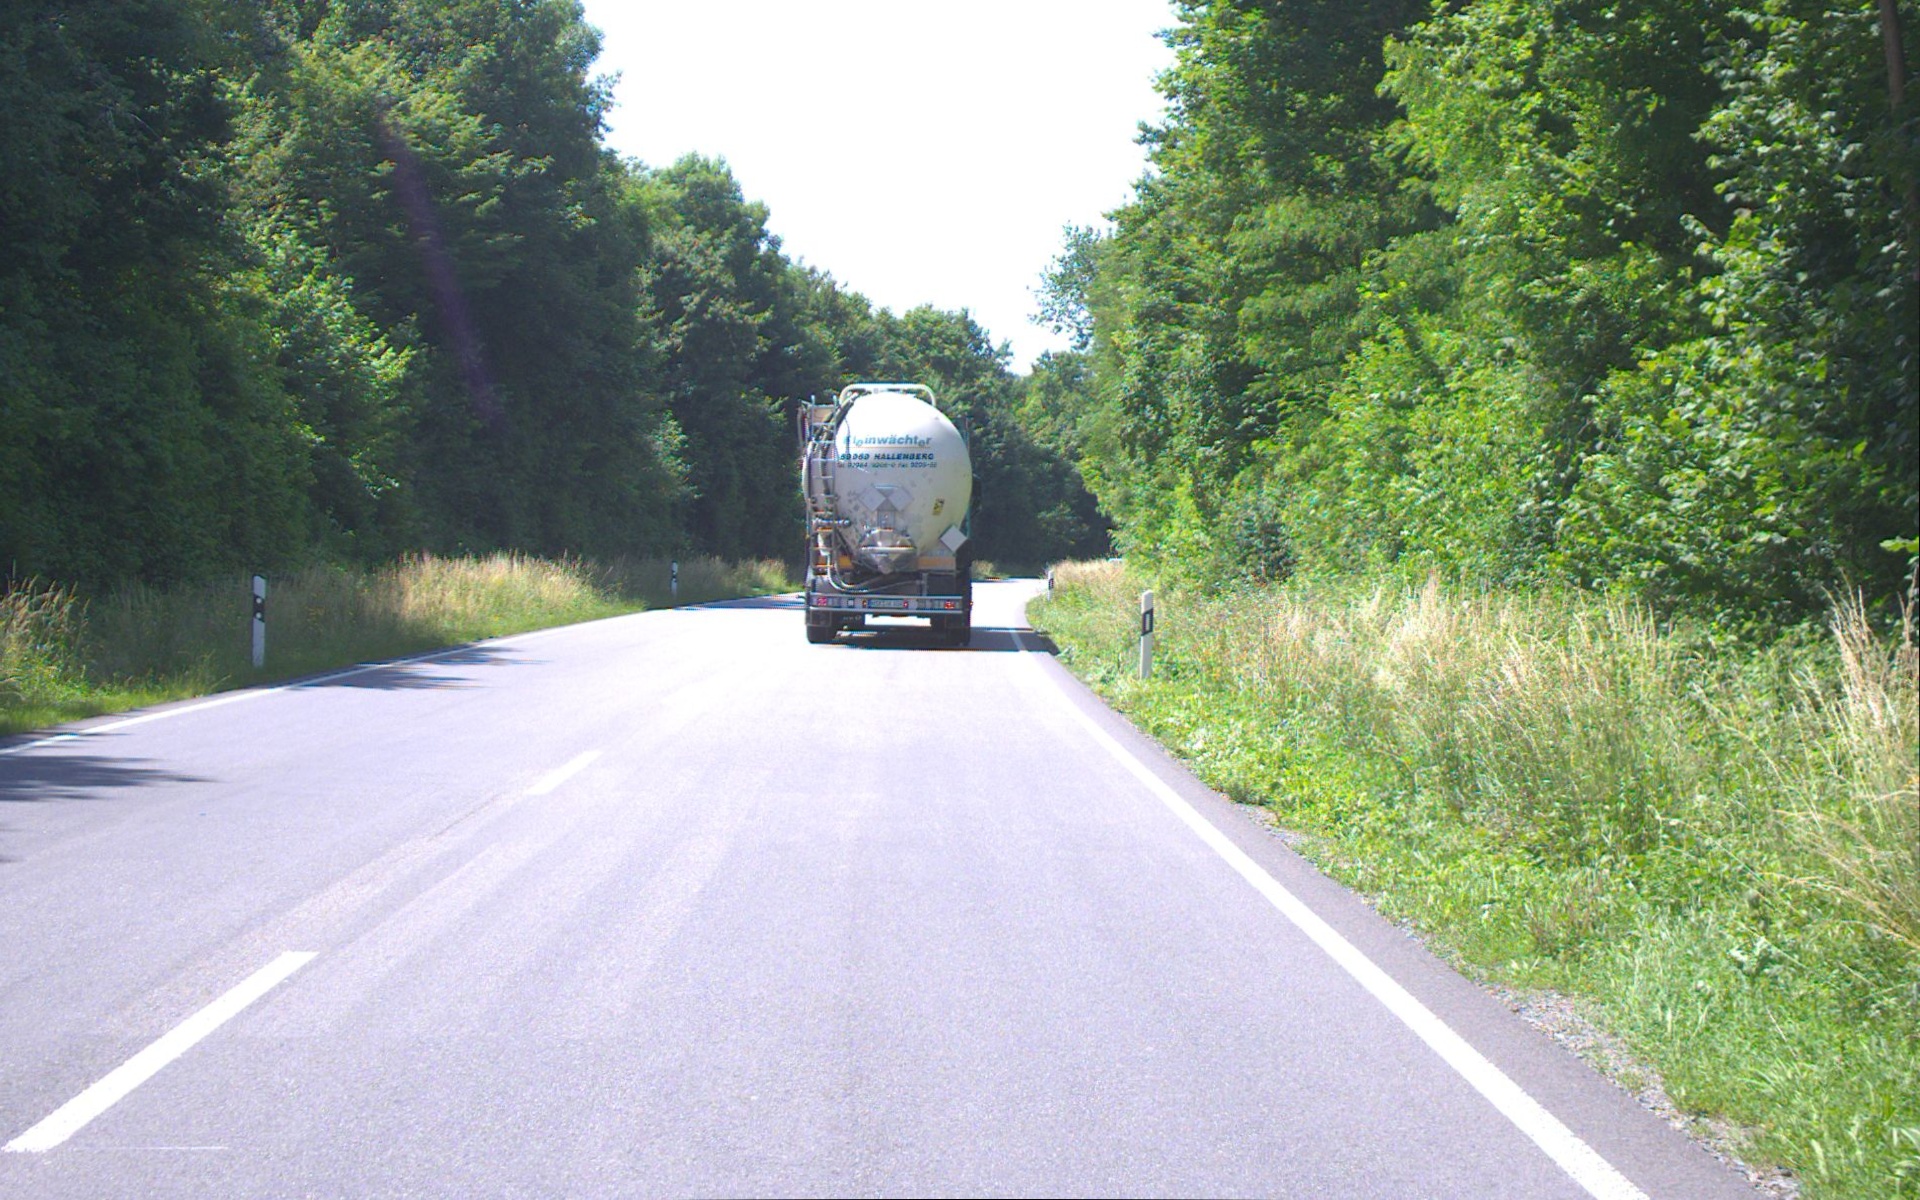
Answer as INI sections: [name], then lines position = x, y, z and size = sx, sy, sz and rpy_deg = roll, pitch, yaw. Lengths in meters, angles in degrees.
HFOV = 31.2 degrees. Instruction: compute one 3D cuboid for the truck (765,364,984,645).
[truck]
position = -1.452, -1.504, 57.731
size = 3.049, 3.984, 15.638
rpy_deg = 2, 1, -2
